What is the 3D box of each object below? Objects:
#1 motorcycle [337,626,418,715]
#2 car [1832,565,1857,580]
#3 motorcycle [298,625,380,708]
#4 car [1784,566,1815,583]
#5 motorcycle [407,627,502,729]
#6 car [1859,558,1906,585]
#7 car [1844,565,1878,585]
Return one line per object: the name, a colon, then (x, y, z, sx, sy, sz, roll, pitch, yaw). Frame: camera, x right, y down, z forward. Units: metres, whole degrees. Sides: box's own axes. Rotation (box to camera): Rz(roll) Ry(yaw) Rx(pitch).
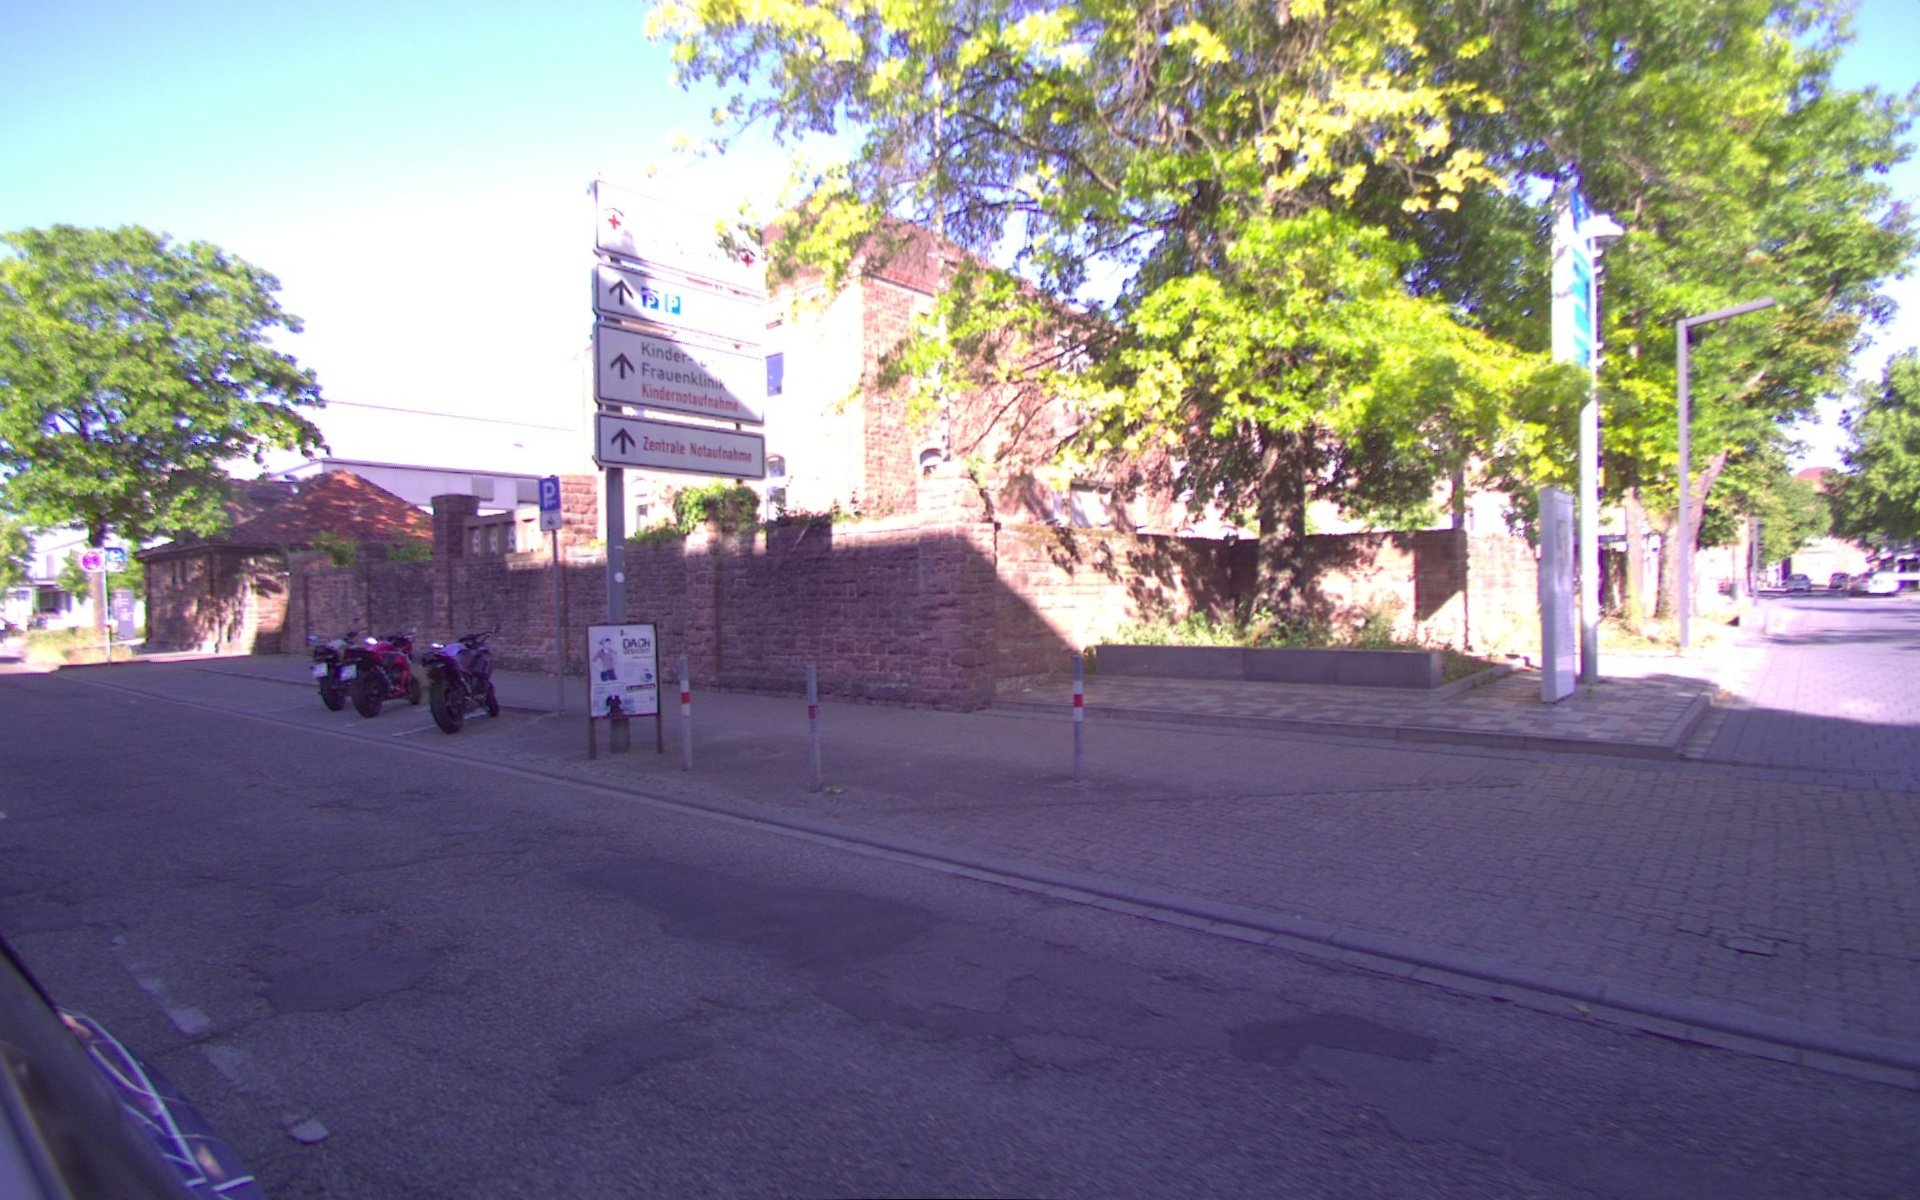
motorcycle: (-8.166, 0.947, 14.274, 0.523, 1.047, 2.097, -3, 2, -18)
car: (88.414, -2.777, 101.175, 1.737, 1.333, 3.027, 0, 3, 44)
motorcycle: (-9.321, 0.961, 15.261, 0.523, 1.047, 2.097, -3, 2, -18)
car: (70.802, -2.154, 85.355, 1.737, 1.333, 3.027, -1, 2, 44)
motorcycle: (-6.074, 0.890, 12.270, 0.591, 1.040, 2.134, -2, 1, -15)
car: (48.767, -1.498, 53.489, 1.737, 1.333, 3.027, -1, 2, 44)
car: (66.181, -1.835, 74.306, 1.737, 1.333, 3.027, -1, 2, 44)
